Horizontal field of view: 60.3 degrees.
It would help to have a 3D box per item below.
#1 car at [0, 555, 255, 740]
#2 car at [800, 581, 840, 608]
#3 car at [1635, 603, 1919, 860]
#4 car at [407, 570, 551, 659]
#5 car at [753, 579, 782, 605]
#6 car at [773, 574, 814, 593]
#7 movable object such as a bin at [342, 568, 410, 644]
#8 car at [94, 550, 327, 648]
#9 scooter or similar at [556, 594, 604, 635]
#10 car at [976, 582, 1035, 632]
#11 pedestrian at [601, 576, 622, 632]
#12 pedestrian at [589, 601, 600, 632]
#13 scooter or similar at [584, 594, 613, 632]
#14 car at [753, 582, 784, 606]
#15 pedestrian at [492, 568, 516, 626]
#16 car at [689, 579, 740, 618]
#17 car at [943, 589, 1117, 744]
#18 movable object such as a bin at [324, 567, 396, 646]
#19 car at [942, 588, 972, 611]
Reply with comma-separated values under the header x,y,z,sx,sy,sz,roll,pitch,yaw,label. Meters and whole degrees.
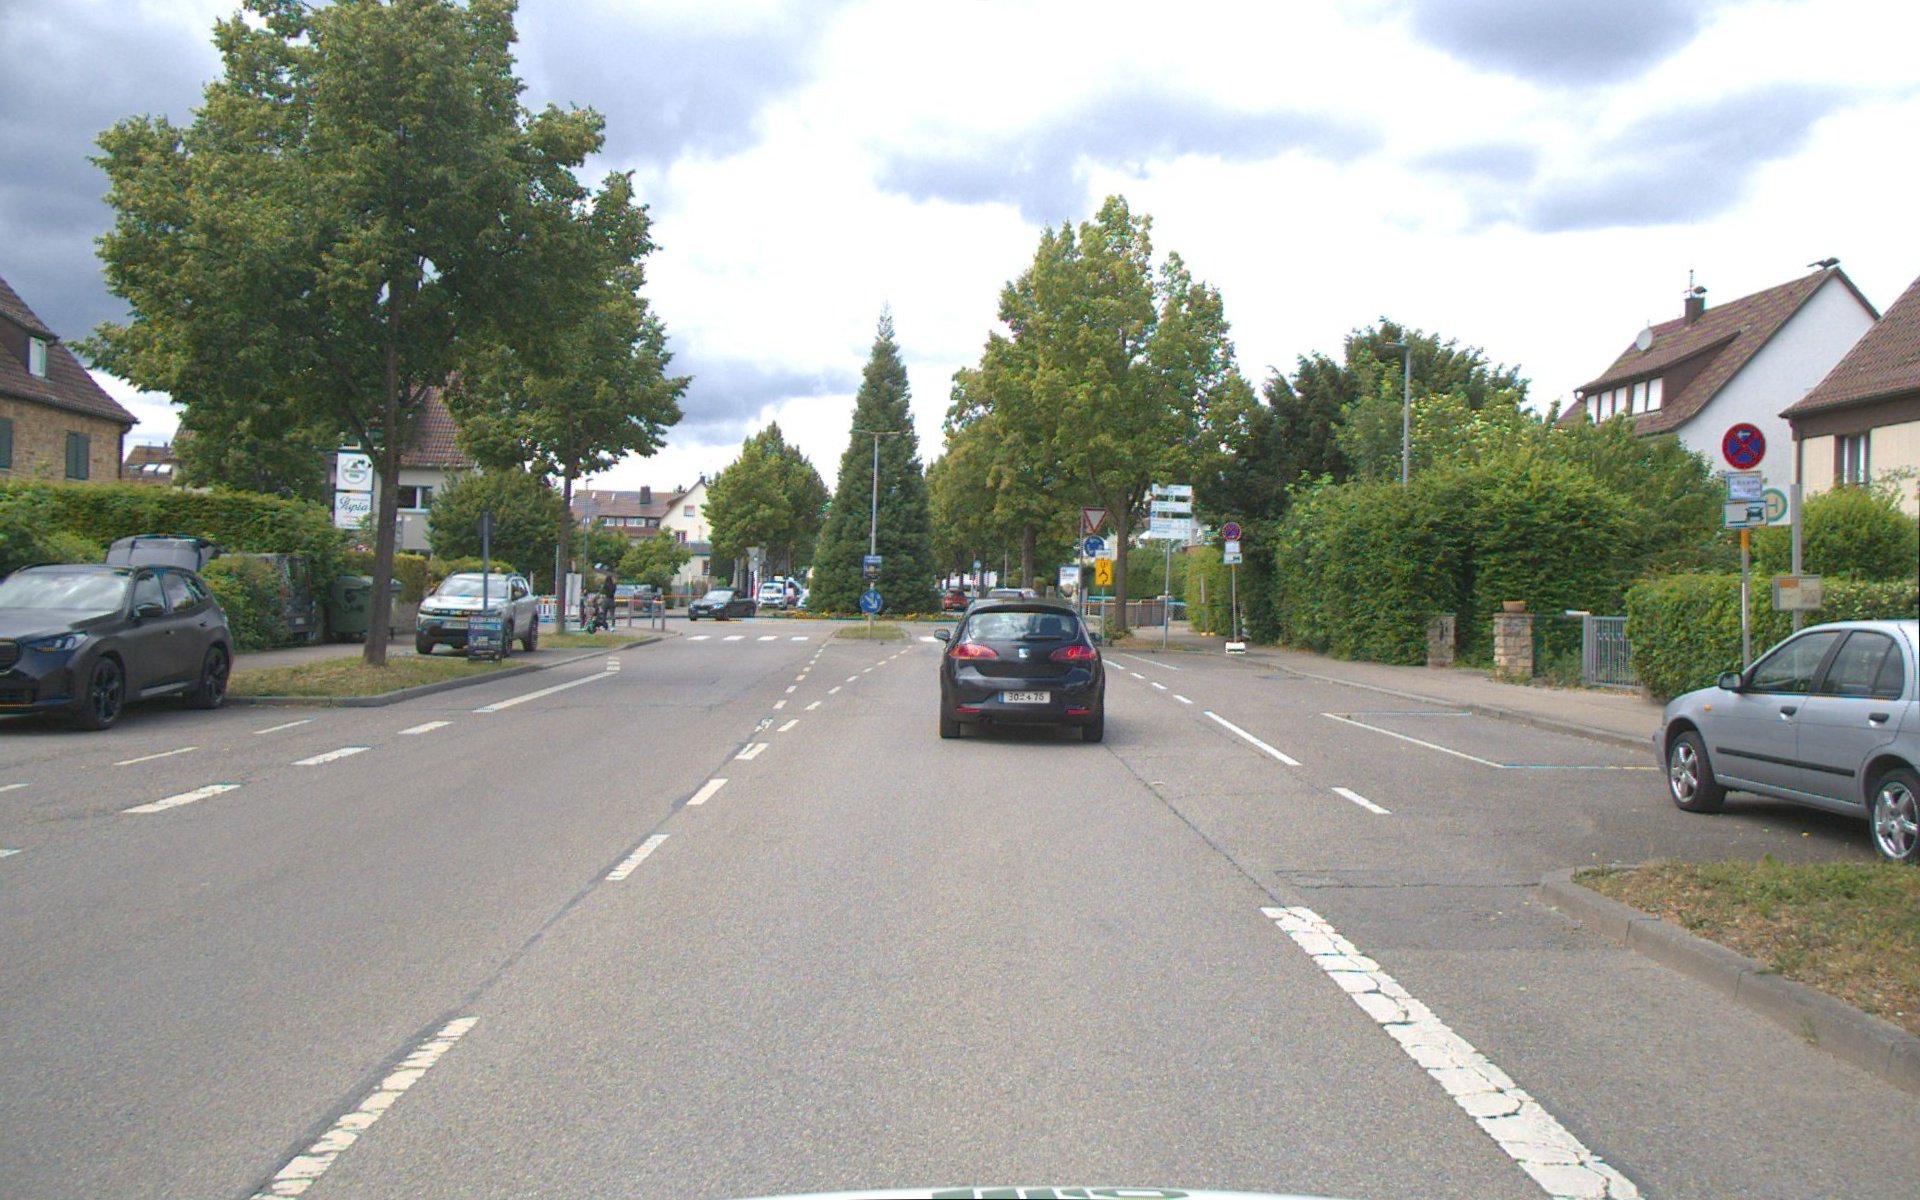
x,y,z,sx,sy,sz,roll,pitch,yaw,label
-9.466,0.429,18.122,1.690,1.755,4.562,1,0,-3,car
-8.376,-0.337,99.037,1.830,1.588,4.261,0,0,2,car
6.024,0.752,10.585,1.579,1.401,4.386,1,-1,-1,car
-9.906,0.267,34.398,1.823,1.682,4.293,1,0,-2,car
-15.099,-0.622,129.903,1.990,2.005,3.997,0,0,-4,car
-17.821,-1.731,176.932,3.903,2.005,2.038,0,0,17,car
-13.622,0.138,38.636,1.182,1.680,0.997,3,0,-4,movable object such as a bin
-15.572,-0.026,34.526,3.906,1.924,2.000,1,0,-1,car
-10.771,0.416,46.881,1.272,1.158,0.343,0,0,-33,scooter or similar
1.569,0.221,58.100,1.953,1.641,4.000,1,0,0,car
-10.720,0.128,50.899,0.477,1.699,0.509,1,0,-35,pedestrian
-10.963,0.495,49.590,0.236,0.910,0.257,1,0,-31,pedestrian
-11.258,0.397,51.475,0.403,1.114,0.955,3,0,-41,scooter or similar
-12.929,-0.417,111.801,1.761,1.629,3.998,0,0,-2,car
-14.277,-0.095,51.797,0.557,1.815,0.533,1,0,-41,pedestrian
-10.854,-0.067,73.321,1.535,1.662,3.623,1,0,3,car
0.737,0.645,18.268,1.696,1.512,4.001,0,0,1,car
-13.400,0.150,36.962,1.182,1.680,0.997,3,0,-4,movable object such as a bin
-0.240,-0.031,113.749,1.448,1.515,3.372,1,0,-11,car
